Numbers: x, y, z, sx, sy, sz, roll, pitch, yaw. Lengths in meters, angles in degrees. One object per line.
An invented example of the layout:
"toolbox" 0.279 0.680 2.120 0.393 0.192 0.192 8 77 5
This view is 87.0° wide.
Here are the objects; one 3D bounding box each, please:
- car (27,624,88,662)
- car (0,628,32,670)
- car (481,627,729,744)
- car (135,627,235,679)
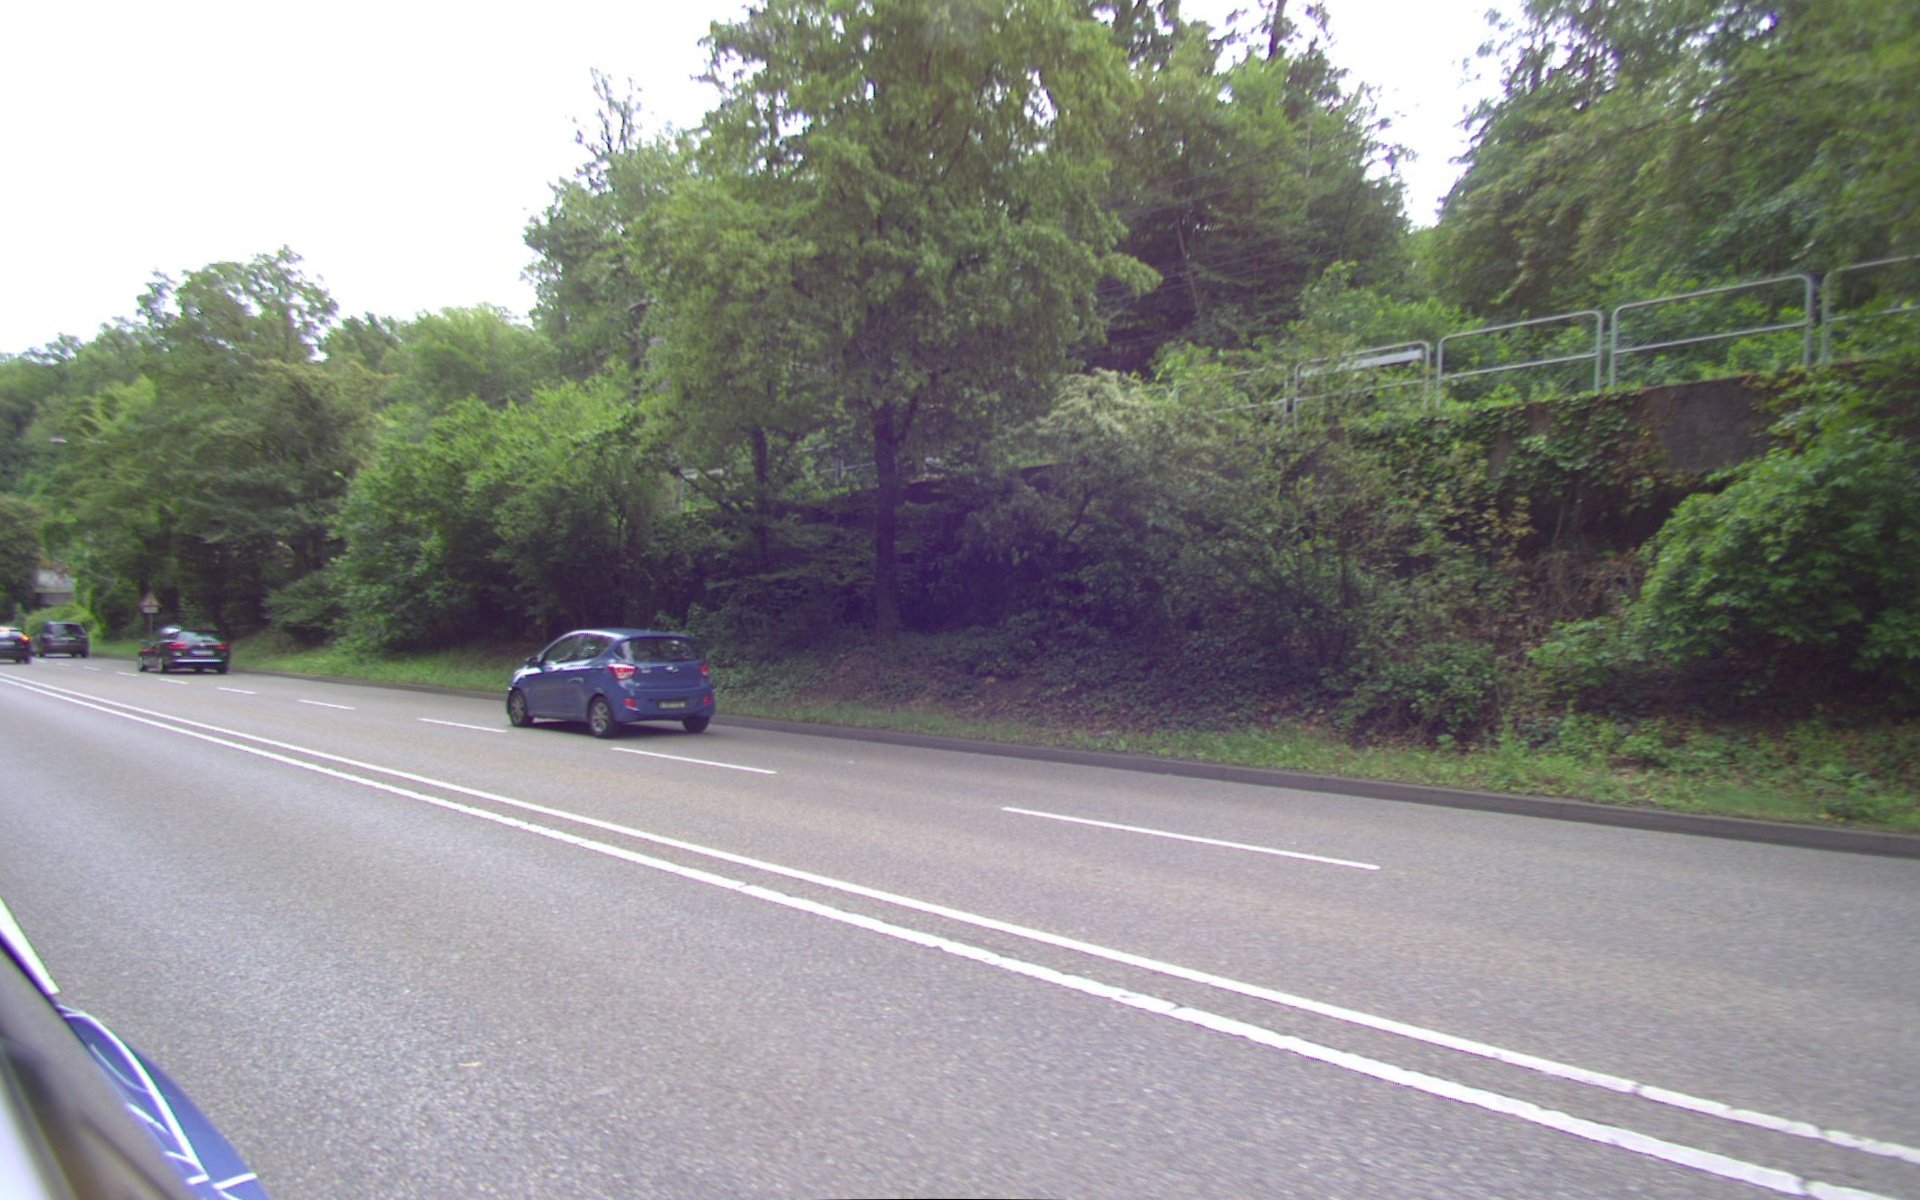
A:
"car" -44.085 2.078 49.391 4.133 1.786 1.641 -1 -4 41
"car" -37.732 1.935 39.520 3.998 1.471 1.670 -1 5 41
"car" -5.337 1.171 15.009 3.997 1.497 1.653 -1 -3 40
"car" -25.109 1.681 32.733 4.431 1.522 1.714 -1 -3 42
